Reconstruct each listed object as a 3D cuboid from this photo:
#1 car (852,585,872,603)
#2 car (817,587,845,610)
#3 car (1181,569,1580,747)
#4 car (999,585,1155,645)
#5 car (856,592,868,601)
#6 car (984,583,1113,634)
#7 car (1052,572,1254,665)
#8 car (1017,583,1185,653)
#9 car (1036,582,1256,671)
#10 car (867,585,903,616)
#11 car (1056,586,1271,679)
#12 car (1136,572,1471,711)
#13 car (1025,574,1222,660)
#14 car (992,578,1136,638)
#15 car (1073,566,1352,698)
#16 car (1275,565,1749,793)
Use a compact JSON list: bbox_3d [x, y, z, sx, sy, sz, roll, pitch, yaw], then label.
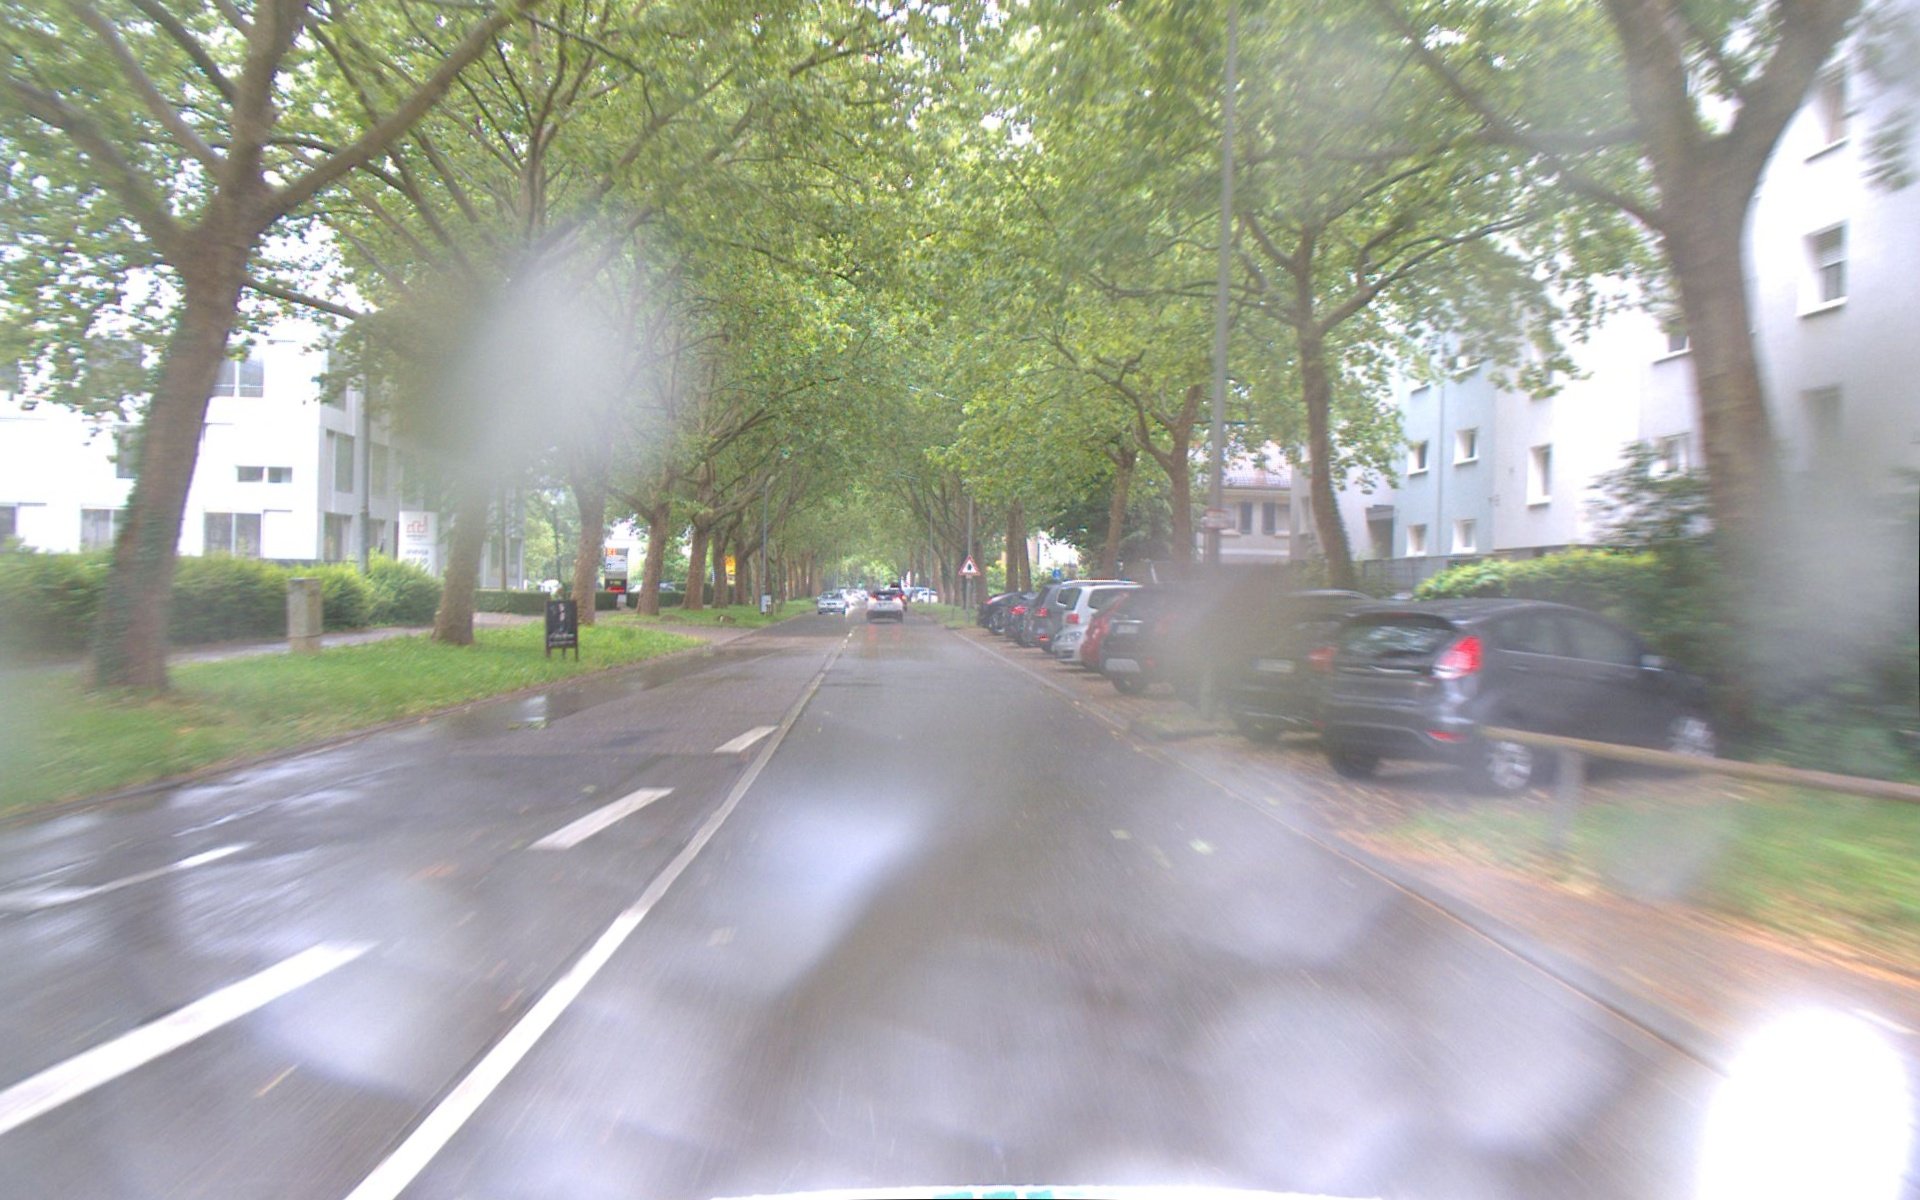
[{"bbox_3d":[-8.457,-0.526,143.310,1.672,1.436,3.643,-1,1,-3],"label":"car"},{"bbox_3d":[-8.249,-0.135,106.100,1.645,1.413,4.547,0,1,-2],"label":"car"},{"bbox_3d":[4.392,0.564,17.110,3.950,1.629,1.783,2,1,-33],"label":"car"},{"bbox_3d":[3.145,0.391,44.850,3.957,1.466,1.684,-1,1,-6],"label":"car"},{"bbox_3d":[-15.456,-0.519,260.436,1.685,1.276,3.999,2,1,-2],"label":"car"},{"bbox_3d":[2.840,0.257,53.765,3.963,1.557,1.779,1,1,-5],"label":"car"},{"bbox_3d":[3.956,0.370,34.313,3.907,1.757,1.800,2,1,-2],"label":"car"},{"bbox_3d":[3.435,0.420,40.749,3.907,1.564,1.630,2,1,-3],"label":"car"},{"bbox_3d":[3.537,0.499,31.905,3.909,1.539,1.799,2,1,-5],"label":"car"},{"bbox_3d":[-3.647,0.015,80.212,1.672,1.436,3.643,-1,1,-3],"label":"car"},{"bbox_3d":[3.588,0.560,29.596,3.627,1.563,1.738,-1,1,0],"label":"car"},{"bbox_3d":[4.501,0.525,21.611,3.945,1.629,2.015,2,1,-30],"label":"car"},{"bbox_3d":[3.703,0.375,37.990,4.251,1.792,1.818,2,1,-3],"label":"car"},{"bbox_3d":[3.124,0.224,50.178,4.126,1.684,1.912,1,1,-4],"label":"car"},{"bbox_3d":[3.731,0.404,24.319,3.816,1.726,1.819,-2,2,-31],"label":"car"},{"bbox_3d":[4.610,0.594,13.690,3.722,1.629,1.783,2,1,-33],"label":"car"}]
